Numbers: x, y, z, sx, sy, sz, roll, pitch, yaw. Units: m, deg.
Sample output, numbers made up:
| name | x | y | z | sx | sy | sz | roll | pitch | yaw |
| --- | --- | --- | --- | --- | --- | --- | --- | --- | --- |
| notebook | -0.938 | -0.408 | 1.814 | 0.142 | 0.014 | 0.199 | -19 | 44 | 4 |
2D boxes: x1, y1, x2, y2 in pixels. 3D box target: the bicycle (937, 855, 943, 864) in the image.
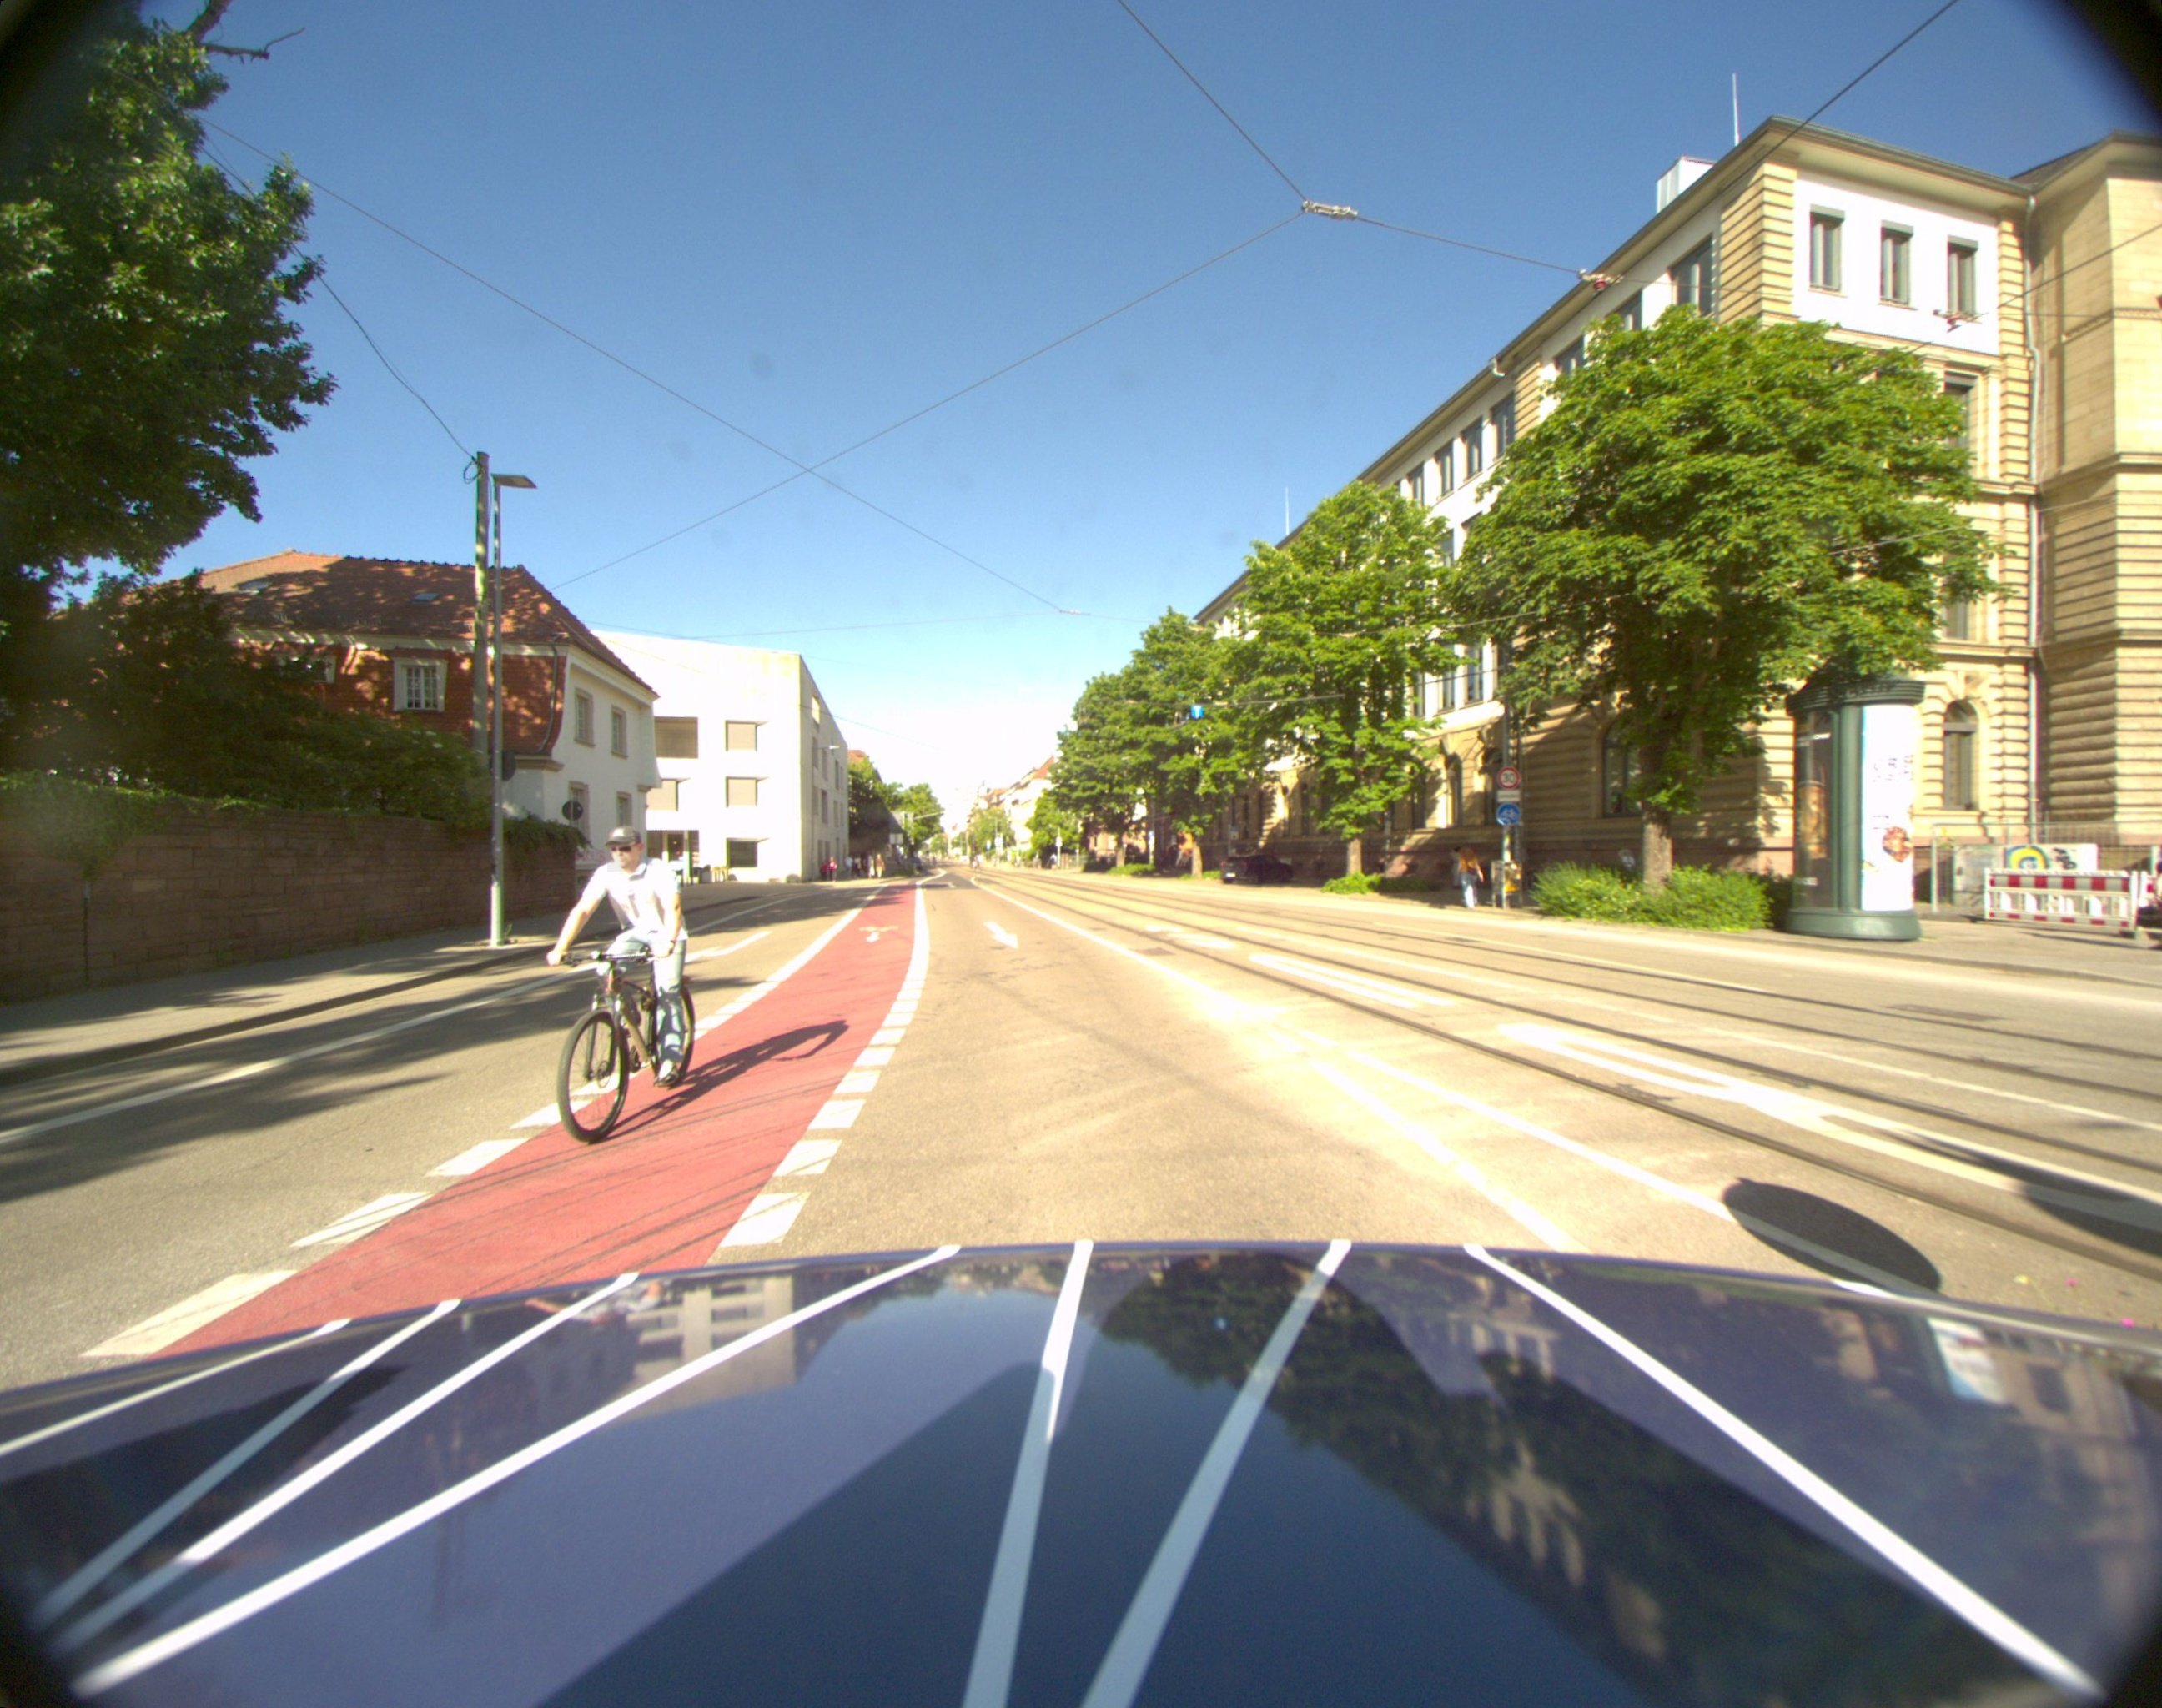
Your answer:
| name | x | y | z | sx | sy | sz | roll | pitch | yaw |
| --- | --- | --- | --- | --- | --- | --- | --- | --- | --- |
| bicycle | -19.398 | 0.758 | 104.545 | 0.665 | 1.146 | 1.670 | -2 | 2 | -7 |

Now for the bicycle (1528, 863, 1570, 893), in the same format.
| name | x | y | z | sx | sy | sz | roll | pitch | yaw |
| --- | --- | --- | --- | --- | --- | --- | --- | --- | --- |
| bicycle | 15.537 | 0.792 | 25.256 | 0.398 | 0.898 | 1.359 | -2 | 2 | -9 |

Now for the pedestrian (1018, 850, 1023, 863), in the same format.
| name | x | y | z | sx | sy | sz | roll | pitch | yaw |
| --- | --- | --- | --- | --- | --- | --- | --- | --- | --- |
| pedestrian | -8.298 | 0.358 | 104.707 | 0.579 | 1.845 | 0.684 | 0 | 1 | -11 |

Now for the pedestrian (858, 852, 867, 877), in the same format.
| name | x | y | z | sx | sy | sz | roll | pitch | yaw |
| --- | --- | --- | --- | --- | --- | --- | --- | --- | --- |
| pedestrian | -15.389 | 0.726 | 53.520 | 0.588 | 1.795 | 0.545 | -1 | 1 | -12 |

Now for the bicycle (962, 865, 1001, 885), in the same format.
| name | x | y | z | sx | sy | sz | roll | pitch | yaw |
| --- | --- | --- | --- | --- | --- | --- | --- | --- | --- |
| bicycle | -9.814 | 2.083 | 75.187 | 3.884 | 1.876 | 1.005 | -1 | 2 | 27 |

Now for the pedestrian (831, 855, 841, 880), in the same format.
| name | x | y | z | sx | sy | sz | roll | pitch | yaw |
| --- | --- | --- | --- | --- | --- | --- | --- | --- | --- |
| pedestrian | -15.716 | 0.856 | 48.763 | 0.535 | 1.557 | 0.519 | -1 | 1 | -12 |

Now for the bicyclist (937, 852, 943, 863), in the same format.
| name | x | y | z | sx | sy | sz | roll | pitch | yaw |
| --- | --- | --- | --- | --- | --- | --- | --- | --- | --- |
| bicyclist | -19.402 | 0.448 | 104.517 | 0.665 | 1.453 | 0.622 | -2 | 2 | -7 |

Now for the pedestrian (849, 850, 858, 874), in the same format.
| name | x | y | z | sx | sy | sz | roll | pitch | yaw |
| --- | --- | --- | --- | --- | --- | --- | --- | --- | --- |
| pedestrian | -17.173 | 0.620 | 57.437 | 0.588 | 1.795 | 0.545 | -1 | 1 | -12 |

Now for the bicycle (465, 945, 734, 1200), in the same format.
| name | x | y | z | sx | sy | sz | roll | pitch | yaw |
| --- | --- | --- | --- | --- | --- | --- | --- | --- | --- |
| bicycle | -2.902 | 1.237 | 4.842 | 0.612 | 1.071 | 1.829 | -1 | 0 | -4 |

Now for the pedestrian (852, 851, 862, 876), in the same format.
| name | x | y | z | sx | sy | sz | roll | pitch | yaw |
| --- | --- | --- | --- | --- | --- | --- | --- | --- | --- |
| pedestrian | -16.345 | 0.670 | 55.450 | 0.588 | 1.795 | 0.582 | -1 | 1 | -12 |

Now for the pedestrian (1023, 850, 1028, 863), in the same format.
| name | x | y | z | sx | sy | sz | roll | pitch | yaw |
| --- | --- | --- | --- | --- | --- | --- | --- | --- | --- |
| pedestrian | -7.649 | 0.335 | 104.873 | 0.579 | 1.845 | 0.684 | 0 | 1 | -11 |

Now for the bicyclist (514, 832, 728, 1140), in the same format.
| name | x | y | z | sx | sy | sz | roll | pitch | yaw |
| --- | --- | --- | --- | --- | --- | --- | --- | --- | --- |
| bicyclist | -2.892 | 0.759 | 4.903 | 0.751 | 1.765 | 1.013 | -1 | 1 | -4 |

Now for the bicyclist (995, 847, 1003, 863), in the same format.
| name | x | y | z | sx | sy | sz | roll | pitch | yaw |
| --- | --- | --- | --- | --- | --- | --- | --- | --- | --- |
| bicyclist | -12.136 | 0.134 | 112.270 | 1.004 | 2.255 | 1.020 | -2 | 2 | -9 |

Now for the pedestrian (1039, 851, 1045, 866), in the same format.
| name | x | y | z | sx | sy | sz | roll | pitch | yaw |
| --- | --- | --- | --- | --- | --- | --- | --- | --- | --- |
| pedestrian | -4.740 | 0.553 | 92.568 | 0.579 | 1.845 | 0.653 | 0 | 1 | -11 |

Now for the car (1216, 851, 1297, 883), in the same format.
| name | x | y | z | sx | sy | sz | roll | pitch | yaw |
| --- | --- | --- | --- | --- | --- | --- | --- | --- | --- |
| car | 9.025 | 0.628 | 38.901 | 4.118 | 1.565 | 1.916 | -1 | 1 | -39 |

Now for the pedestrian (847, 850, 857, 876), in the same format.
| name | x | y | z | sx | sy | sz | roll | pitch | yaw |
| --- | --- | --- | --- | --- | --- | --- | --- | --- | --- |
| pedestrian | -16.117 | 0.634 | 53.545 | 0.588 | 1.795 | 0.545 | -1 | 1 | -12 |

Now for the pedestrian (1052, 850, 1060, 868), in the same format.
| name | x | y | z | sx | sy | sz | roll | pitch | yaw |
| --- | --- | --- | --- | --- | --- | --- | --- | --- | --- |
| pedestrian | -2.623 | 0.491 | 80.108 | 0.729 | 1.845 | 0.653 | 0 | 1 | -9 |

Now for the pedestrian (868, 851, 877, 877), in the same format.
| name | x | y | z | sx | sy | sz | roll | pitch | yaw |
| --- | --- | --- | --- | --- | --- | --- | --- | --- | --- |
| pedestrian | -14.695 | 0.705 | 53.545 | 0.588 | 1.795 | 0.519 | -1 | 1 | -12 |

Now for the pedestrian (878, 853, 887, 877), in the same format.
| name | x | y | z | sx | sy | sz | roll | pitch | yaw |
| --- | --- | --- | --- | --- | --- | --- | --- | --- | --- |
| pedestrian | -14.061 | 0.763 | 53.913 | 0.588 | 1.717 | 0.519 | -1 | 1 | -12 |

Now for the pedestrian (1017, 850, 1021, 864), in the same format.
| name | x | y | z | sx | sy | sz | roll | pitch | yaw |
| --- | --- | --- | --- | --- | --- | --- | --- | --- | --- |
| pedestrian | -8.364 | 0.413 | 102.438 | 0.579 | 1.845 | 0.684 | 0 | 1 | -11 |

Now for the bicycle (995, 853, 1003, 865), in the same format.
| name | x | y | z | sx | sy | sz | roll | pitch | yaw |
| --- | --- | --- | --- | --- | --- | --- | --- | --- | --- |
| bicycle | -12.124 | 0.667 | 112.332 | 1.004 | 1.672 | 2.981 | -2 | 2 | -9 |

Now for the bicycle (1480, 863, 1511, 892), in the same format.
| name | x | y | z | sx | sy | sz | roll | pitch | yaw |
| --- | --- | --- | --- | --- | --- | --- | --- | --- | --- |
| bicycle | 14.624 | 0.814 | 26.821 | 0.343 | 0.951 | 1.101 | -2 | 2 | -9 |

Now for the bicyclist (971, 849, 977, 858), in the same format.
| name | x | y | z | sx | sy | sz | roll | pitch | yaw |
| --- | --- | --- | --- | --- | --- | --- | --- | --- | --- |
| bicyclist | -21.923 | -0.049 | 155.801 | 1.004 | 1.712 | 0.983 | -2 | 2 | -11 |

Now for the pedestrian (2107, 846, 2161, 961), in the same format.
| name | x | y | z | sx | sy | sz | roll | pitch | yaw |
| --- | --- | --- | --- | --- | --- | --- | --- | --- | --- |
| pedestrian | 16.126 | 0.721 | 11.213 | 0.729 | 1.660 | 0.846 | 0 | 3 | -1 |

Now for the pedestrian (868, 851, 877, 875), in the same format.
| name | x | y | z | sx | sy | sz | roll | pitch | yaw |
| --- | --- | --- | --- | --- | --- | --- | --- | --- | --- |
| pedestrian | -15.386 | 0.671 | 56.008 | 0.588 | 1.795 | 0.582 | -1 | 1 | -12 |

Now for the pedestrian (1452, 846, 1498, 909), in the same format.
| name | x | y | z | sx | sy | sz | roll | pitch | yaw |
| --- | --- | --- | --- | --- | --- | --- | --- | --- | --- |
| pedestrian | 10.666 | 0.652 | 20.606 | 0.771 | 1.658 | 1.035 | 0 | -3 | 8 |

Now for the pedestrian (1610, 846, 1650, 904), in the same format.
| name | x | y | z | sx | sy | sz | roll | pitch | yaw |
| --- | --- | --- | --- | --- | --- | --- | --- | --- | --- |
| pedestrian | 14.856 | 0.557 | 20.571 | 0.579 | 1.553 | 0.653 | 0 | 1 | -11 |

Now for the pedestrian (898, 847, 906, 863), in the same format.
| name | x | y | z | sx | sy | sz | roll | pitch | yaw |
| --- | --- | --- | --- | --- | --- | --- | --- | --- | --- |
| pedestrian | -19.331 | 0.101 | 82.035 | 0.679 | 1.728 | 0.931 | 0 | 1 | -10 |

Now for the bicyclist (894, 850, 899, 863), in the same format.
| name | x | y | z | sx | sy | sz | roll | pitch | yaw |
| --- | --- | --- | --- | --- | --- | --- | --- | --- | --- |
| bicyclist | -33.973 | 0.457 | 139.932 | 0.813 | 2.194 | 0.983 | -2 | 2 | -10 |

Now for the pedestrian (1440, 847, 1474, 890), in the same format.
| name | x | y | z | sx | sy | sz | roll | pitch | yaw |
| --- | --- | --- | --- | --- | --- | --- | --- | --- | --- |
| pedestrian | 14.299 | 0.545 | 28.878 | 0.858 | 1.558 | 0.672 | -4 | 2 | -6 |

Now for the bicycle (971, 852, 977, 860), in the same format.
| name | x | y | z | sx | sy | sz | roll | pitch | yaw |
| --- | --- | --- | --- | --- | --- | --- | --- | --- | --- |
| bicycle | -21.907 | 0.407 | 155.822 | 1.004 | 1.672 | 2.981 | -2 | 2 | -11 |

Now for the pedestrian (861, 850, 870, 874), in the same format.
| name | x | y | z | sx | sy | sz | roll | pitch | yaw |
| --- | --- | --- | --- | --- | --- | --- | --- | --- | --- |
| pedestrian | -16.302 | 0.594 | 57.535 | 0.588 | 1.795 | 0.545 | -1 | 1 | -12 |

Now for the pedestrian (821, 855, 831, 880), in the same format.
| name | x | y | z | sx | sy | sz | roll | pitch | yaw |
| --- | --- | --- | --- | --- | --- | --- | --- | --- | --- |
| pedestrian | -16.313 | 0.872 | 48.630 | 0.535 | 1.557 | 0.519 | -1 | 1 | -12 |

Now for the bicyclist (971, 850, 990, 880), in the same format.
| name | x | y | z | sx | sy | sz | roll | pitch | yaw |
| --- | --- | --- | --- | --- | --- | --- | --- | --- | --- |
| bicyclist | -9.950 | 1.094 | 75.212 | 1.470 | 2.959 | 1.005 | -1 | 2 | 27 |
